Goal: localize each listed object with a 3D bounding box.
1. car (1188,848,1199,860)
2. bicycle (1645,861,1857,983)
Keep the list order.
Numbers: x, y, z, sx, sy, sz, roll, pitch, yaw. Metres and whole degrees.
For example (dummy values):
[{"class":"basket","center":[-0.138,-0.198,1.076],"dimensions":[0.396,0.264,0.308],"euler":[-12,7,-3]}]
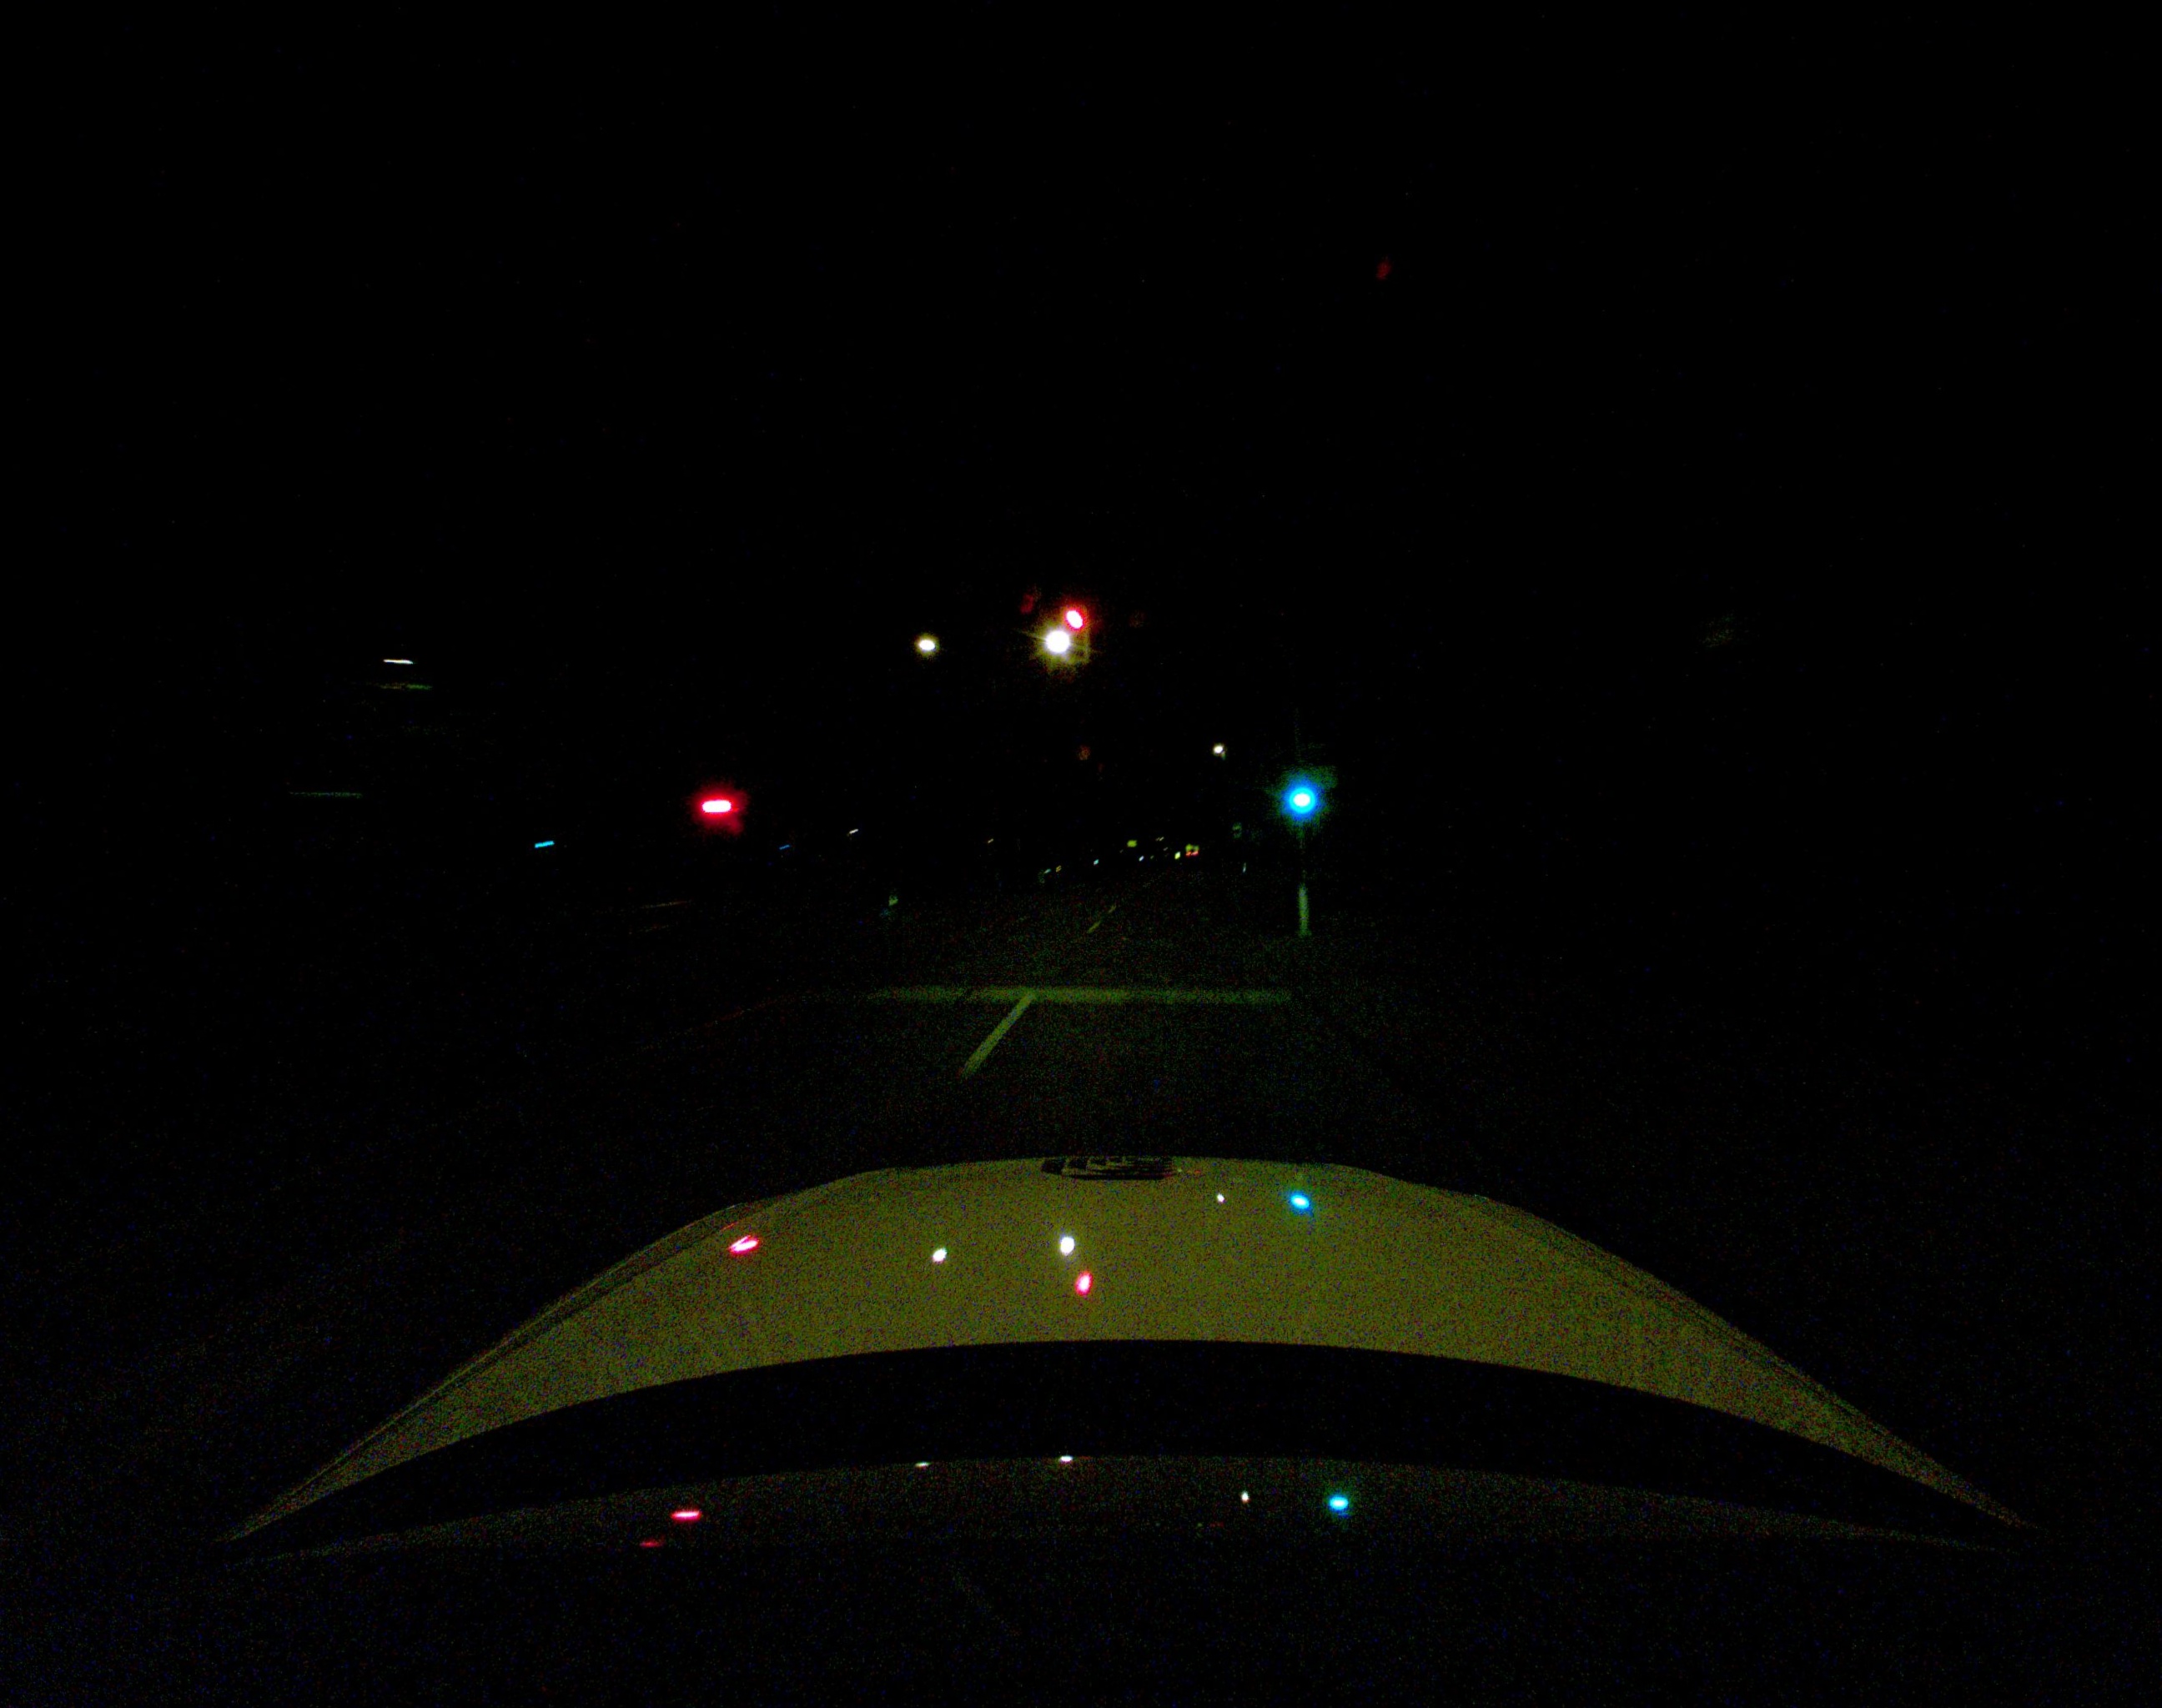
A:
[{"class":"car","center":[20.991,-0.007,152.391],"dimensions":[1.983,2.014,4.007],"euler":[-1,-3,7]},{"class":"bicycle","center":[6.166,0.604,7.646],"dimensions":[0.294,0.982,1.943],"euler":[-2,-3,-1]}]
